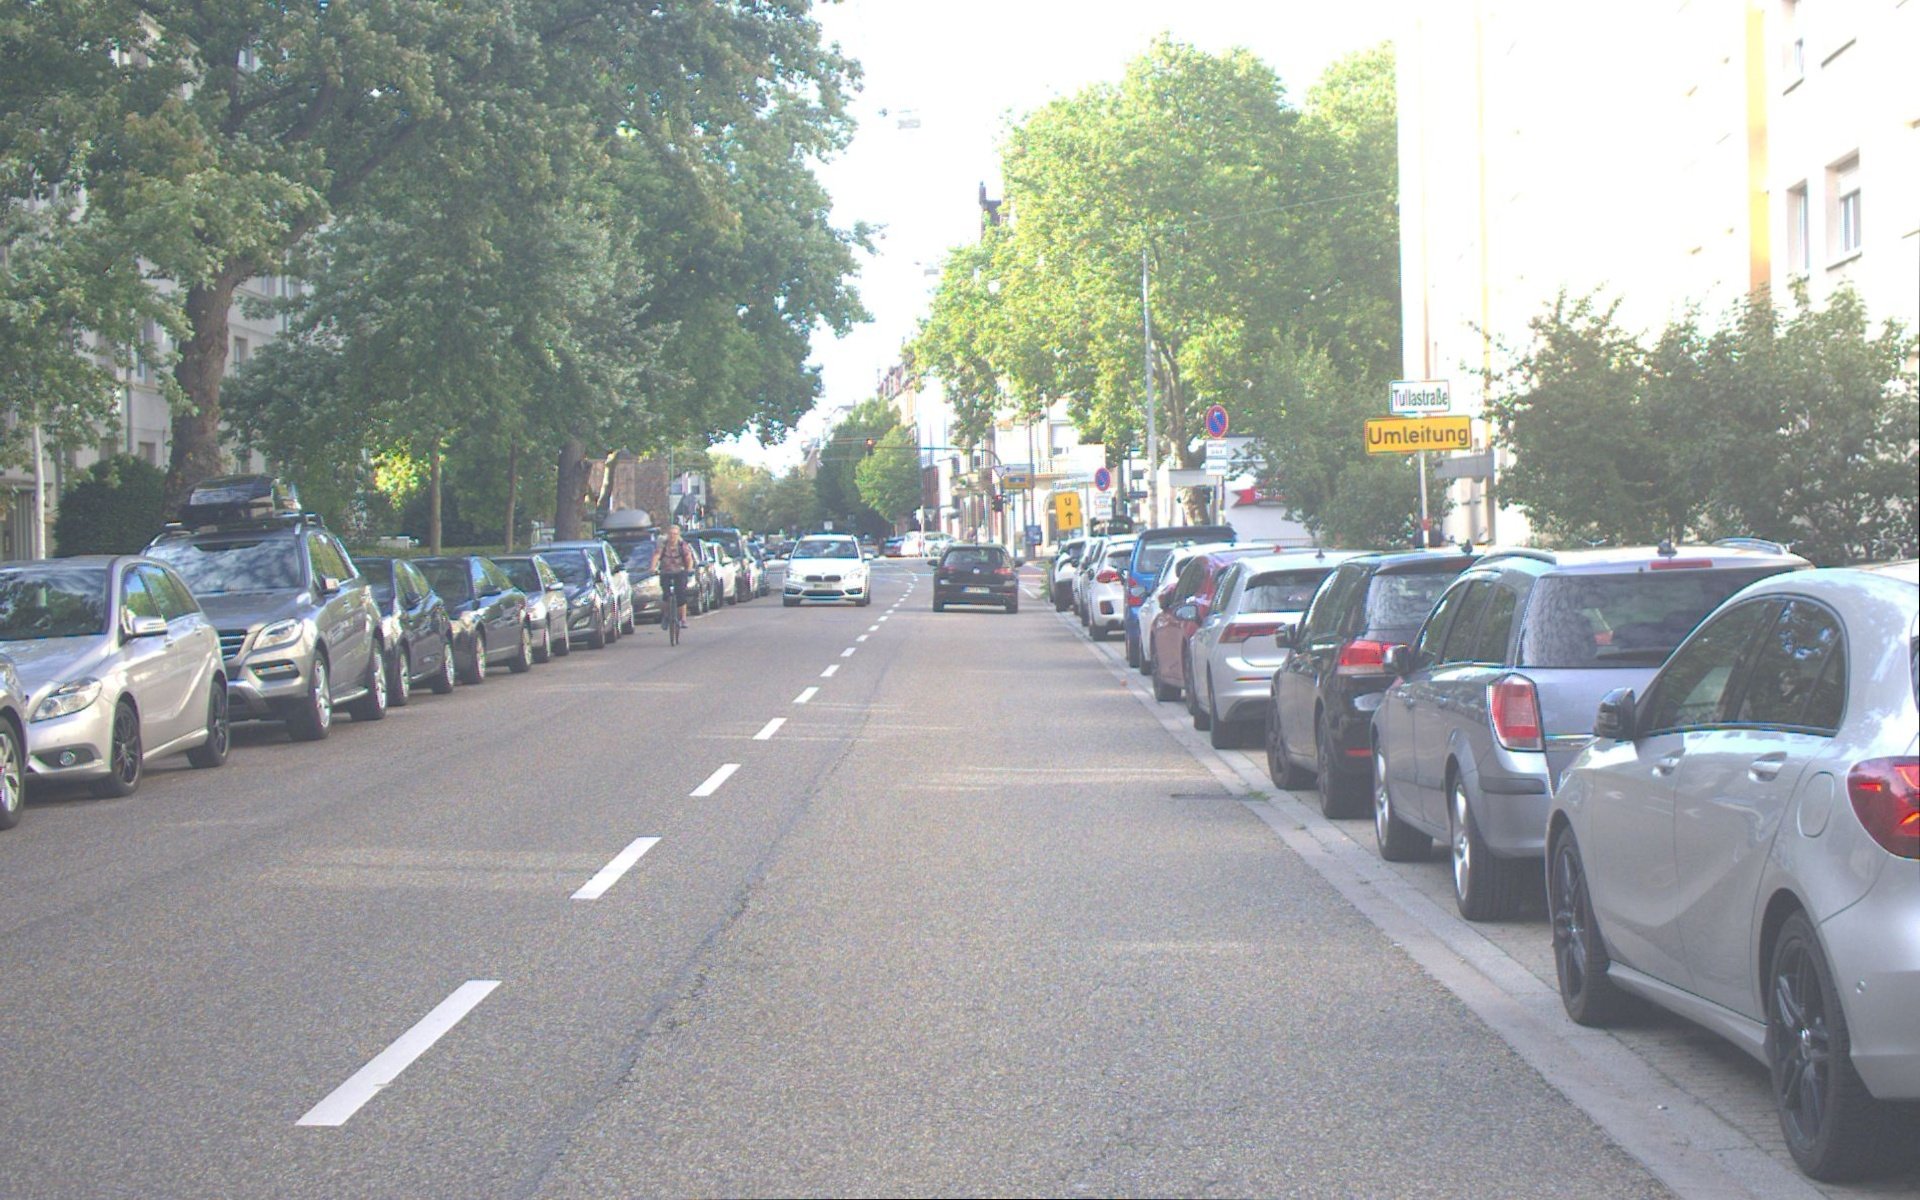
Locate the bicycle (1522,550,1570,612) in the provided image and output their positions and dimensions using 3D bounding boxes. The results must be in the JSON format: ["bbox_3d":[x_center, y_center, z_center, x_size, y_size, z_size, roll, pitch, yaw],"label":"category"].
[{"bbox_3d":[9.235,-0.312,54.229,0.458,0.938,1.517,-2,1,-1],"label":"bicycle"}]

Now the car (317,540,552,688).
[{"bbox_3d":[-5.969,0.111,39.522,1.685,1.475,4.451,-4,1,3],"label":"car"}]

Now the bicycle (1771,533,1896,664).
[{"bbox_3d":[9.151,-0.037,36.099,0.595,1.286,2.635,-4,1,1],"label":"bicycle"}]

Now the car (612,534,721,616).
[{"bbox_3d":[-5.859,-0.522,68.906,1.700,1.482,3.848,-3,1,1],"label":"car"}]

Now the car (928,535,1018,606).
[{"bbox_3d":[0.298,-0.621,71.026,1.752,1.409,4.000,0,1,2],"label":"car"}]

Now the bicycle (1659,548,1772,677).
[{"bbox_3d":[7.912,0.107,36.113,0.604,1.286,2.635,-1,1,1],"label":"bicycle"}]

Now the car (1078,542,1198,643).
[{"bbox_3d":[2.711,-0.142,53.086,1.728,1.482,4.641,0,1,2],"label":"car"}]

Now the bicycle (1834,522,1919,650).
[{"bbox_3d":[9.873,-0.168,36.092,0.726,1.286,2.635,-2,1,1],"label":"bicycle"}]

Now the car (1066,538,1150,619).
[{"bbox_3d":[2.902,-0.440,67.779,1.551,1.552,3.468,0,1,1],"label":"car"}]

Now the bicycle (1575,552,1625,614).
[{"bbox_3d":[10.026,-0.275,53.915,0.458,0.924,1.517,-2,1,-1],"label":"bicycle"}]

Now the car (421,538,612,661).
[{"bbox_3d":[-5.751,-0.043,44.963,1.600,1.414,3.964,-4,1,5],"label":"car"}]

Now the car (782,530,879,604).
[{"bbox_3d":[-2.784,-0.733,74.739,1.859,1.523,4.011,-1,1,1],"label":"car"}]

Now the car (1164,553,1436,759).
[{"bbox_3d":[2.563,0.373,26.759,1.662,1.411,4.059,-2,1,0],"label":"car"}]

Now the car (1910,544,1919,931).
[{"bbox_3d":[2.608,0.657,4.310,1.683,1.496,3.874,-2,1,-1],"label":"car"}]

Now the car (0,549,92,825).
[{"bbox_3d":[-6.150,0.547,17.994,1.855,1.481,4.944,-4,1,0],"label":"car"}]

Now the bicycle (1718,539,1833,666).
[{"bbox_3d":[8.549,0.007,36.128,0.604,1.286,2.635,0,1,1],"label":"bicycle"}]

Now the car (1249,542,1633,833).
[{"bbox_3d":[2.733,0.436,20.317,1.662,1.486,3.942,-2,1,0],"label":"car"}]

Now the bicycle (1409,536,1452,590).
[{"bbox_3d":[10.065,-0.794,73.527,0.597,1.111,2.209,-2,1,1],"label":"bicycle"}]

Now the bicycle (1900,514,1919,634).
[{"bbox_3d":[10.595,-0.270,36.147,0.726,1.286,2.635,0,1,1],"label":"bicycle"}]

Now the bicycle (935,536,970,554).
[{"bbox_3d":[-0.469,-3.376,211.958,2.022,1.078,0.620,-1,1,-13],"label":"bicycle"}]

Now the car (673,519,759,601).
[{"bbox_3d":[-5.886,-0.991,83.264,1.723,1.876,4.192,-3,1,0],"label":"car"}]

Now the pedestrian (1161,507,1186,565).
[{"bbox_3d":[6.132,-1.838,98.754,0.652,1.639,0.743,0,1,0],"label":"pedestrian"}]

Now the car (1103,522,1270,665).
[{"bbox_3d":[2.766,-0.111,42.770,1.728,1.644,4.117,-2,1,0],"label":"car"}]

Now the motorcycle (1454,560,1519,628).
[{"bbox_3d":[8.308,-0.103,54.297,0.630,1.041,2.394,0,1,-1],"label":"motorcycle"}]

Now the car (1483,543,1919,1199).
[{"bbox_3d":[2.695,0.597,9.520,1.699,1.458,4.180,-2,1,-2],"label":"car"}]

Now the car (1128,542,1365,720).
[{"bbox_3d":[2.618,0.237,32.277,1.728,1.510,4.191,-2,1,-1],"label":"car"}]

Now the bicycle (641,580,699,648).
[{"bbox_3d":[-4.052,0.186,48.116,0.642,0.920,1.858,0,1,1],"label":"bicycle"}]

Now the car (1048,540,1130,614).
[{"bbox_3d":[2.767,-0.504,73.244,1.690,1.523,4.237,0,1,3],"label":"car"}]

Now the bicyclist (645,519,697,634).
[{"bbox_3d":[-4.053,-0.327,48.229,0.641,1.595,0.990,0,1,1],"label":"bicyclist"}]

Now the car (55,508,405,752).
[{"bbox_3d":[-6.029,0.183,28.992,1.877,1.787,4.971,-3,1,-1],"label":"car"}]

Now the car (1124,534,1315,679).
[{"bbox_3d":[2.807,0.038,37.933,1.728,1.456,4.117,-2,1,0],"label":"car"}]

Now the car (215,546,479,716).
[{"bbox_3d":[-6.107,0.264,34.674,1.685,1.475,4.119,-4,1,2],"label":"car"}]

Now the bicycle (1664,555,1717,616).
[{"bbox_3d":[11.472,-0.240,54.028,0.458,0.924,1.517,-2,1,-1],"label":"bicycle"}]

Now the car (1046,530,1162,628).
[{"bbox_3d":[2.435,-0.383,58.965,1.728,1.575,4.117,-2,1,0],"label":"car"}]

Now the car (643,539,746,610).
[{"bbox_3d":[-5.977,-0.599,77.832,1.694,1.488,4.332,-2,1,4],"label":"car"}]

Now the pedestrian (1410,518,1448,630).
[{"bbox_3d":[7.232,-0.401,53.036,0.542,1.715,0.771,0,1,6],"label":"pedestrian"}]

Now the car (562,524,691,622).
[{"bbox_3d":[-6.185,-0.534,64.236,1.799,1.662,4.482,-3,1,1],"label":"car"}]

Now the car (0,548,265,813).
[{"bbox_3d":[-6.133,0.479,23.141,1.855,1.568,4.460,-2,1,1],"label":"car"}]

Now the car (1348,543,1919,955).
[{"bbox_3d":[2.788,0.522,15.006,1.683,1.480,4.293,-2,1,0],"label":"car"}]

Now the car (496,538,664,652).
[{"bbox_3d":[-5.434,-0.104,49.595,1.614,1.463,4.013,-4,1,4],"label":"car"}]
